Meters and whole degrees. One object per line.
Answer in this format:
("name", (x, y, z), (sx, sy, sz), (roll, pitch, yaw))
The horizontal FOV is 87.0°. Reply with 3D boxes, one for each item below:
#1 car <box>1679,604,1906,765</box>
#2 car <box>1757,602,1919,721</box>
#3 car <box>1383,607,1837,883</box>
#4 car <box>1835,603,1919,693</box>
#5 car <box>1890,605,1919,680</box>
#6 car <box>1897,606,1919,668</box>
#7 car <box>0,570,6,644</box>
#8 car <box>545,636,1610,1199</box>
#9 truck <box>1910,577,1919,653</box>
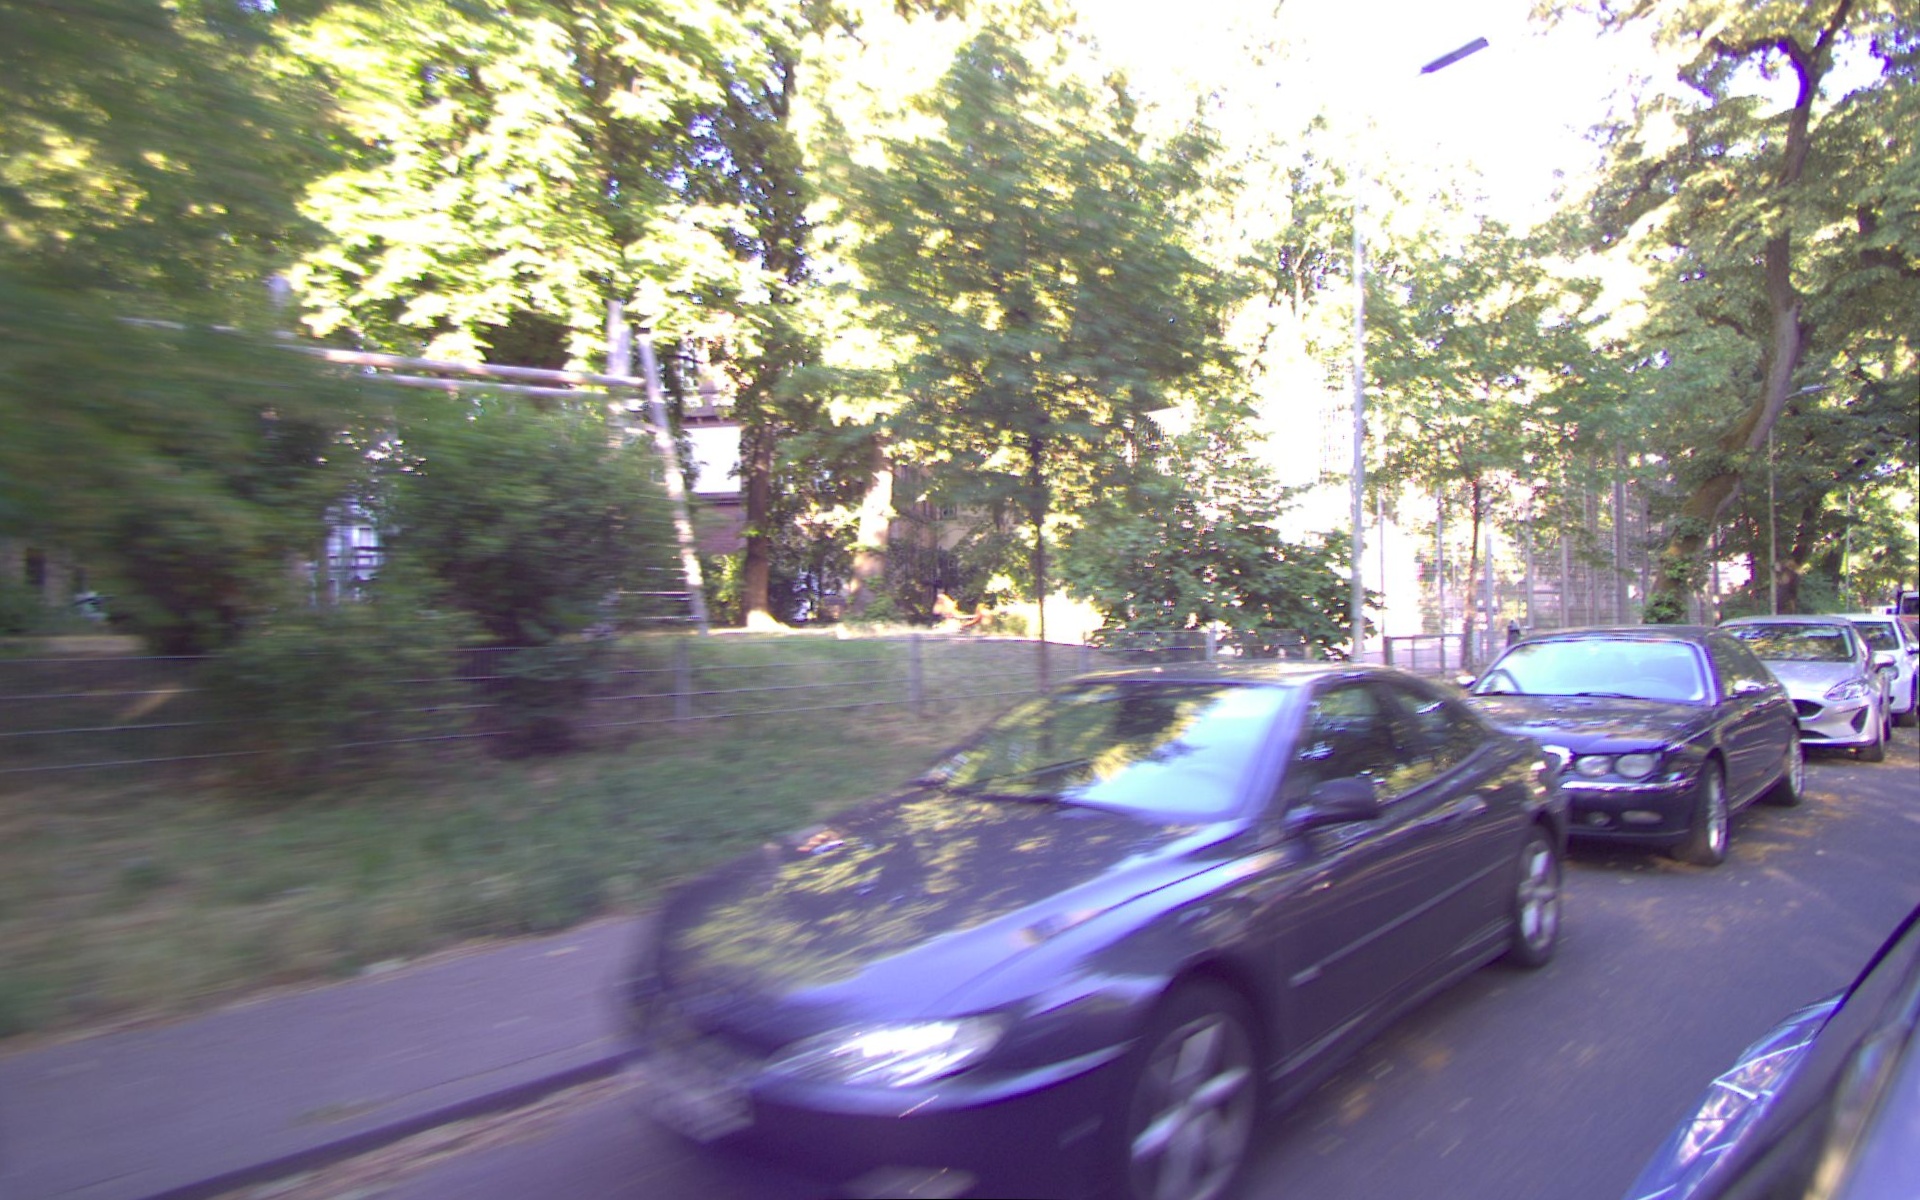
("car", (9.418, 0.790, 11.336), (1.680, 1.472, 4.012), (-2, -1, 43))
("car", (12.860, 0.775, 14.464), (4.007, 1.472, 1.682), (0, -1, -43))
("car", (5.050, 0.796, 7.556), (4.578, 1.442, 1.682), (0, -1, -42))
("car", (16.879, 0.798, 18.002), (3.494, 1.472, 1.592), (0, -1, -43))
("car", (20.791, 0.847, 21.190), (3.883, 1.472, 1.673), (0, -1, -44))
("car", (24.434, 0.872, 24.984), (3.883, 1.472, 1.673), (0, -1, -44))
("car", (-25.402, 0.188, 23.968), (3.929, 1.805, 1.997), (-1, 0, 5))
("car", (0.872, 0.840, 3.820), (4.215, 1.299, 1.682), (0, -1, -43))
("truck", (33.639, 0.471, 33.955), (6.821, 2.417, 2.296), (0, -1, -45))
